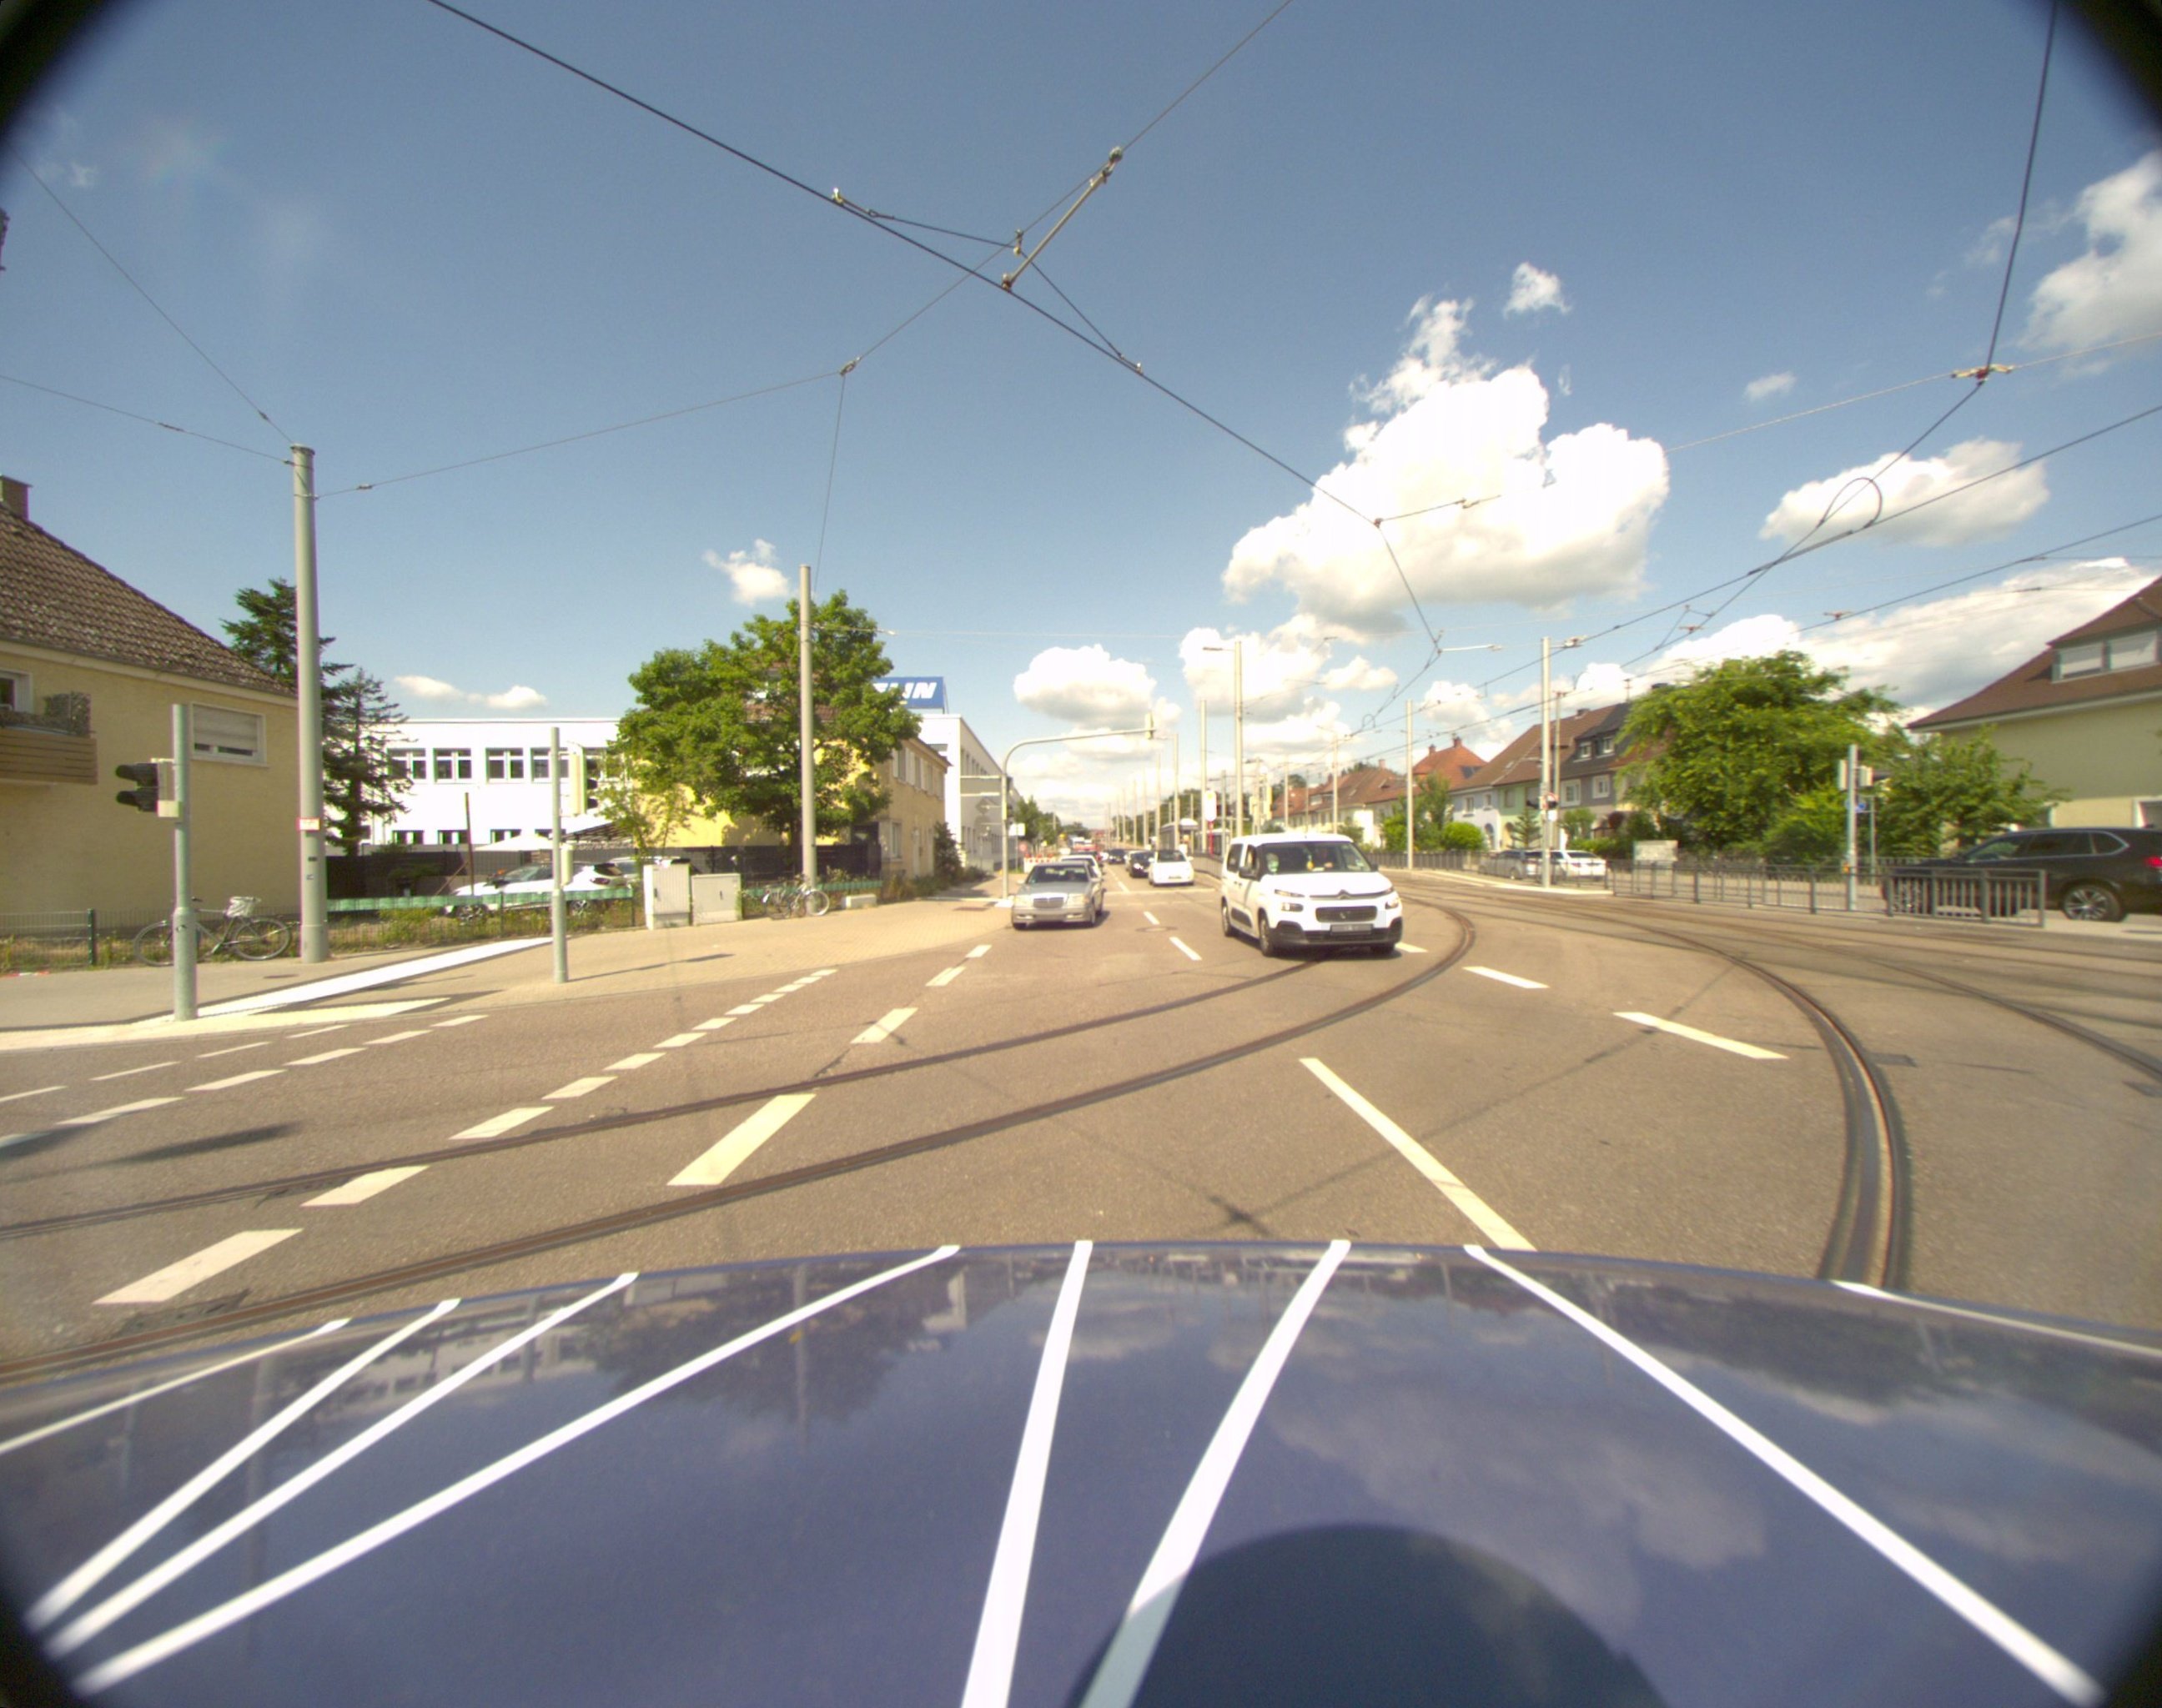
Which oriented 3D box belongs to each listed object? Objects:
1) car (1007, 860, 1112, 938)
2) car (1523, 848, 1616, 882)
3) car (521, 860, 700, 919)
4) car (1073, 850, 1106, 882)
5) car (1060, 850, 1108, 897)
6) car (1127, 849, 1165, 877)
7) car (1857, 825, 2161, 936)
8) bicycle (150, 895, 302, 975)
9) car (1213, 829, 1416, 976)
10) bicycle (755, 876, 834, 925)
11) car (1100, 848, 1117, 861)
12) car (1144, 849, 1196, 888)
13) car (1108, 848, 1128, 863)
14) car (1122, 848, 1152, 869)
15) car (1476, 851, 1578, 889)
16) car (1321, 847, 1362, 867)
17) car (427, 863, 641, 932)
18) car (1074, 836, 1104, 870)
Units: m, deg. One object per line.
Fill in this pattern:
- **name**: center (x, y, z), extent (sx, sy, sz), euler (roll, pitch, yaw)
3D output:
- **car**: center (-0.344, 0.938, 17.714), extent (1.724, 1.390, 4.464), euler (-2, 1, 7)
- **car**: center (22.528, 0.474, 35.262), extent (1.688, 1.344, 4.345), euler (-2, 1, 4)
- **car**: center (-13.914, 1.017, 22.671), extent (4.118, 1.587, 1.799), euler (-1, 1, -5)
- **car**: center (0.424, 0.622, 41.427), extent (1.664, 1.530, 3.998), euler (-2, 1, -1)
- **car**: center (0.091, 0.697, 29.486), extent (1.664, 1.564, 3.998), euler (-2, 1, -1)
- **car**: center (3.649, 0.484, 43.076), extent (1.680, 1.414, 3.557), euler (-2, 1, -2)
- **car**: center (18.179, 0.413, 14.449), extent (1.998, 1.766, 4.879), euler (1, 1, 3)
- **bicycle**: center (-14.040, 1.309, 12.520), extent (1.576, 1.131, 0.380), euler (-3, 2, -27)
- **car**: center (3.347, 0.628, 11.830), extent (1.799, 1.804, 4.330), euler (-2, 0, 0)
- **bicycle**: center (-6.969, 1.112, 18.549), extent (0.462, 1.013, 1.759), euler (-1, 2, 41)
- **car**: center (3.204, 0.089, 89.223), extent (1.698, 1.350, 4.497), euler (-2, 1, -1)
- **car**: center (3.803, 0.585, 32.817), extent (1.680, 1.495, 3.392), euler (-2, 1, -2)
- **car**: center (3.726, 0.110, 76.354), extent (1.698, 1.350, 4.497), euler (-2, 1, -1)
- **car**: center (3.959, 0.298, 54.494), extent (1.698, 1.350, 4.497), euler (-2, 1, -1)
- **car**: center (19.032, 0.643, 32.677), extent (1.998, 1.344, 4.177), euler (-2, 1, 1)
- **car**: center (19.475, 0.189, 57.044), extent (1.688, 1.344, 4.177), euler (-2, 1, 1)
- **car**: center (-14.058, 1.080, 19.729), extent (4.118, 1.587, 1.799), euler (-1, 1, -5)
- **car**: center (0.499, -0.102, 52.071), extent (1.787, 2.135, 5.167), euler (-2, 1, -1)
